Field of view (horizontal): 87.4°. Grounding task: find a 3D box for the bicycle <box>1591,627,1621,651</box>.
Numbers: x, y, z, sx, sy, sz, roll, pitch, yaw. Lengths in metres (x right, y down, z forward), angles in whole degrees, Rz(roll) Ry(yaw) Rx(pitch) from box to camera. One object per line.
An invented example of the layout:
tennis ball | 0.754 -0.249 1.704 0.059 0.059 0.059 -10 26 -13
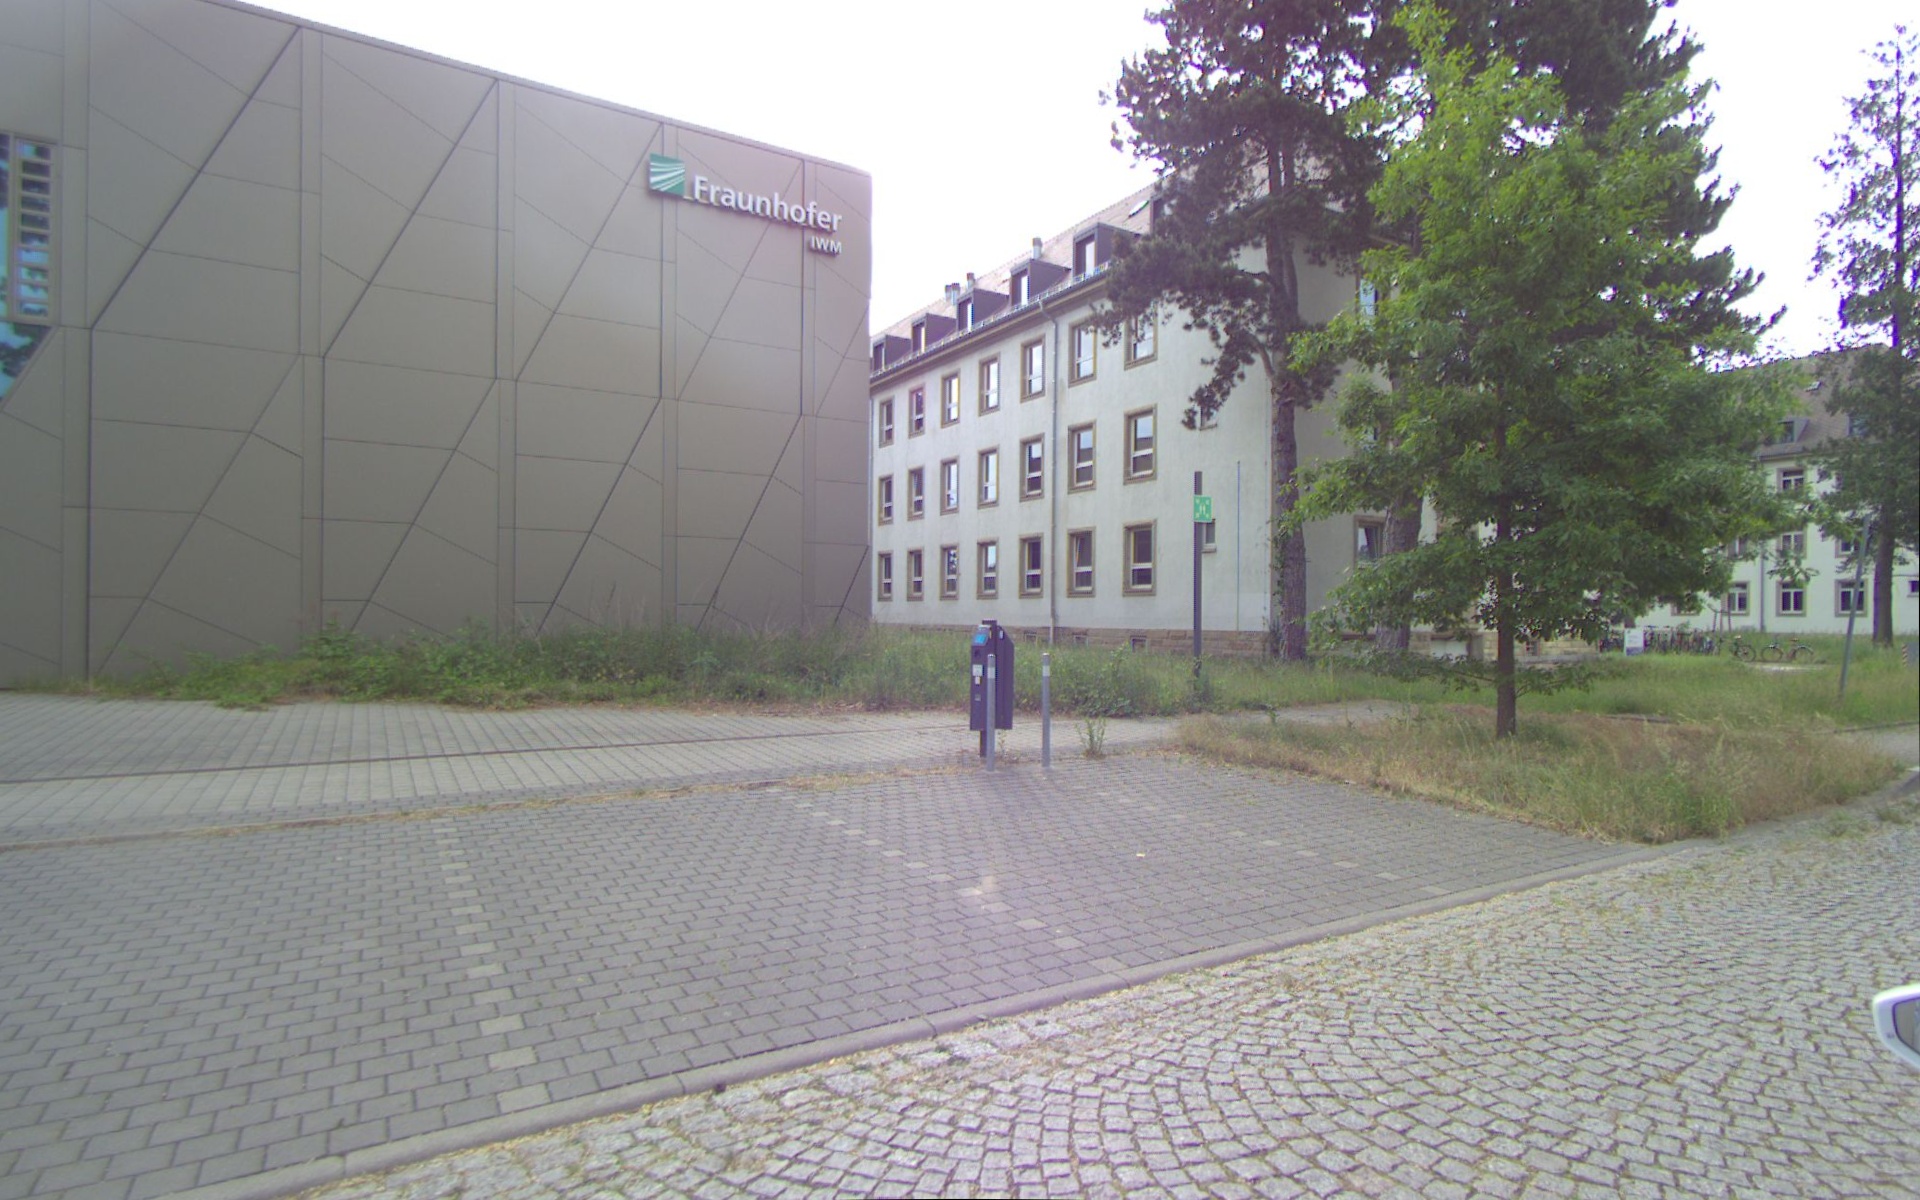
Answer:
bicycle | 29.341 1.774 45.616 1.567 1.093 0.512 1 -1 -31

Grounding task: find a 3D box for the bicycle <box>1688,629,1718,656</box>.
bicycle | 31.344 1.778 42.358 1.569 1.093 0.511 1 -1 -34

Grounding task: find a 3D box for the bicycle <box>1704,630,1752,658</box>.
bicycle | 30.901 1.745 40.416 0.510 1.093 1.456 1 -1 -32

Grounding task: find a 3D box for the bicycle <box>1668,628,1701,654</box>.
bicycle | 30.927 1.764 42.895 1.566 1.093 0.512 1 -1 -29

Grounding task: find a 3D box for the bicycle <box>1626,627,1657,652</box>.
bicycle | 30.111 1.746 44.379 1.567 1.093 0.512 1 -1 -31

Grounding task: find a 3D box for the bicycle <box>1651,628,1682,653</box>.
bicycle | 30.648 1.753 43.549 1.567 1.093 0.512 1 -1 -31

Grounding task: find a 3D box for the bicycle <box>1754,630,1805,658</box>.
bicycle | 31.870 1.702 39.097 0.510 1.079 1.456 1 -1 -32

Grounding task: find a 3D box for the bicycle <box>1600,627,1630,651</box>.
bicycle | 29.543 1.751 45.288 1.567 1.093 0.512 1 -1 -31

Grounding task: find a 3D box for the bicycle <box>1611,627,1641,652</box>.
bicycle | 29.778 1.757 44.904 1.567 1.093 0.512 1 -1 -31

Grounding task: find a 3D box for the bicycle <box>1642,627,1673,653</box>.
bicycle | 30.469 1.747 43.862 1.567 1.093 0.512 1 -1 -31
